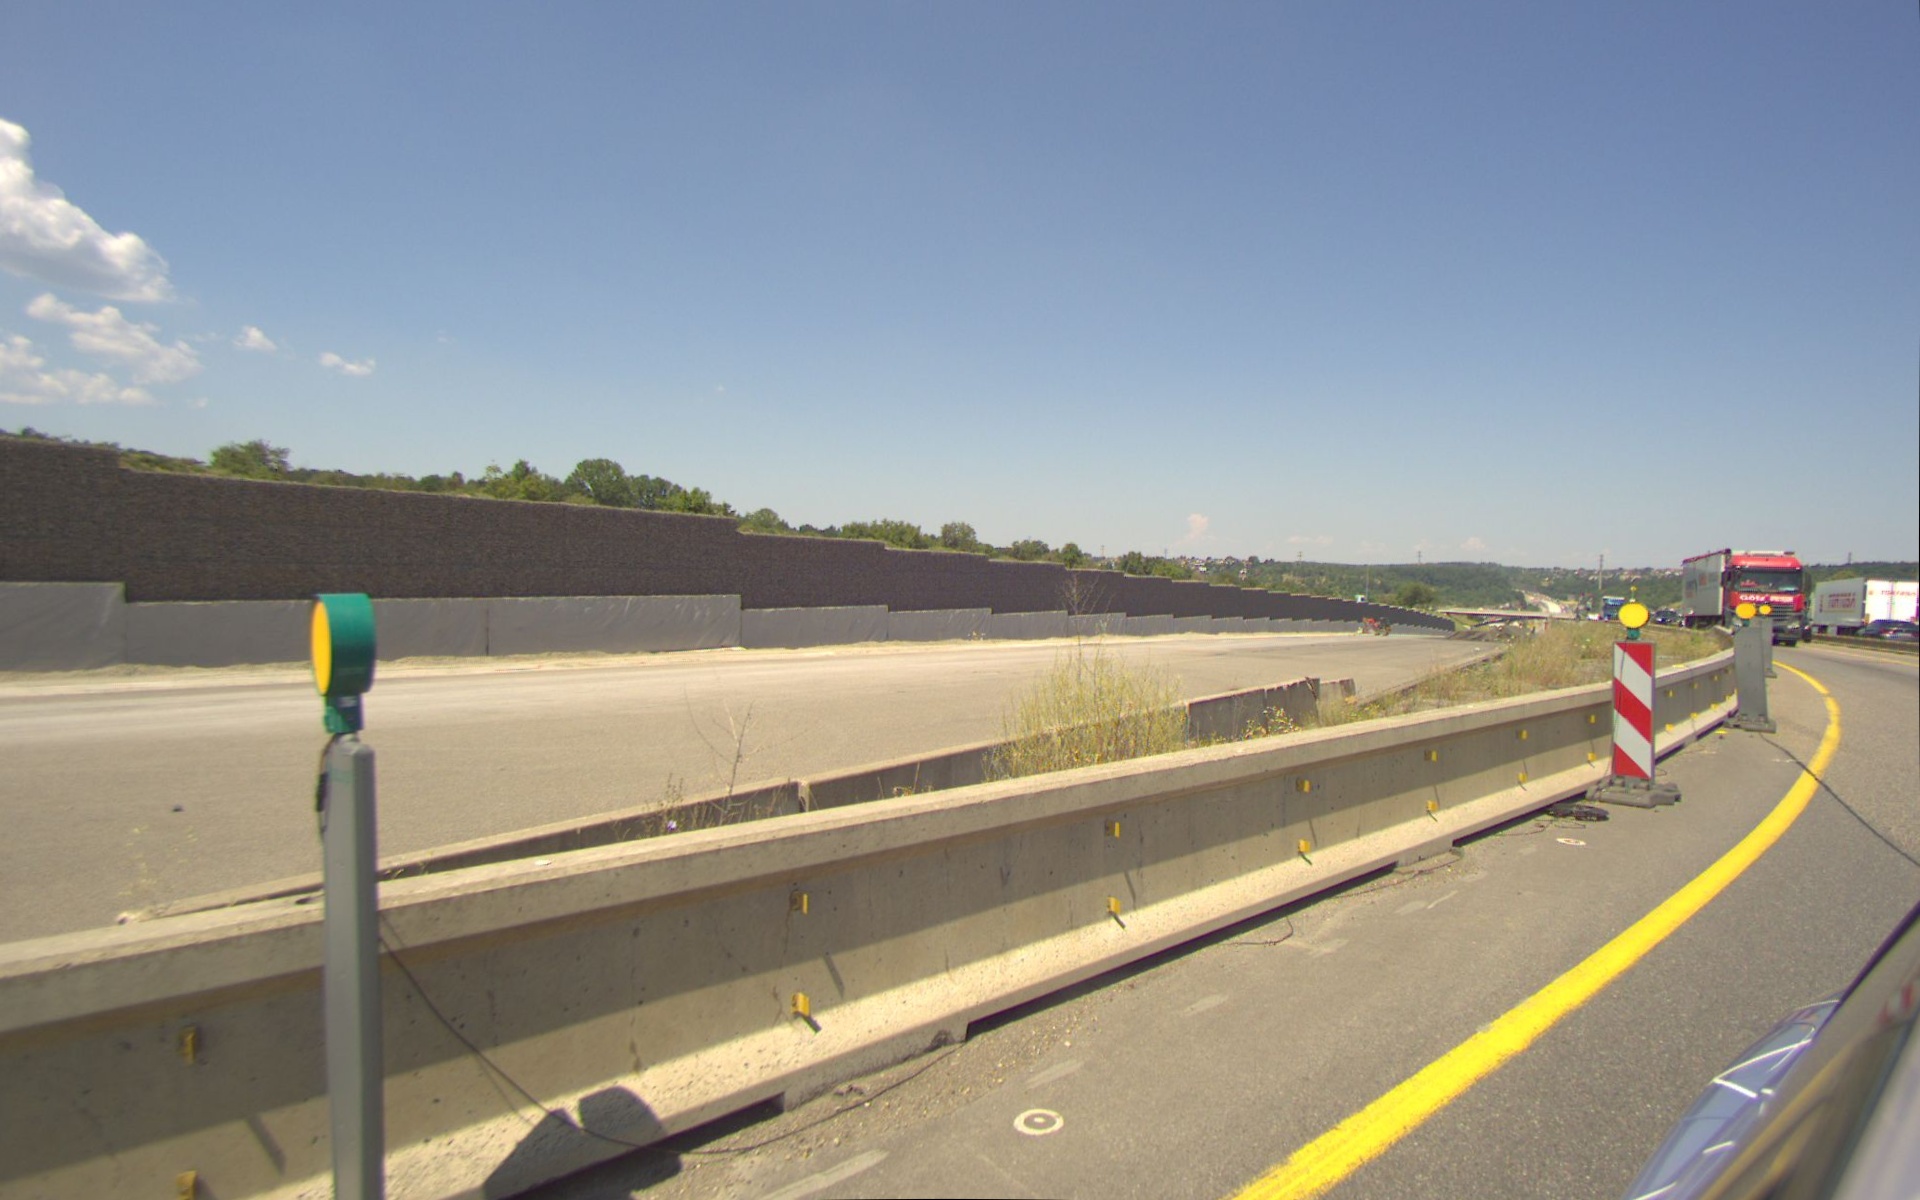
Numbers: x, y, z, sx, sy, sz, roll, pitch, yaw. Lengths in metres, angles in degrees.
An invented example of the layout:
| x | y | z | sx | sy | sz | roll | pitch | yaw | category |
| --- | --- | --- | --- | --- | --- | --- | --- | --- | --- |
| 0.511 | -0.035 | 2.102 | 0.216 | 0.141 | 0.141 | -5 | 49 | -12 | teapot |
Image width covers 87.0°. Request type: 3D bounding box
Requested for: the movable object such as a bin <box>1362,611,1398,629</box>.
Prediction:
| x | y | z | sx | sy | sz | roll | pitch | yaw | category |
| --- | --- | --- | --- | --- | --- | --- | --- | --- | --- |
| 56.375 | 2.689 | 135.841 | 4.060 | 2.174 | 1.761 | 2 | 1 | 5 | movable object such as a bin |

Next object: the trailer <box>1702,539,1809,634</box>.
| x | y | z | sx | sy | sz | roll | pitch | yaw | category |
| --- | --- | --- | --- | --- | --- | --- | --- | --- | --- |
| 37.549 | -0.623 | 48.158 | 2.684 | 3.923 | 12.276 | 2 | 1 | 33 | trailer |

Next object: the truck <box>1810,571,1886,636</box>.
| x | y | z | sx | sy | sz | roll | pitch | yaw | category |
| --- | --- | --- | --- | --- | --- | --- | --- | --- | --- |
| 61.556 | 0.203 | 70.268 | 2.817 | 4.183 | 5.399 | 2 | 1 | 31 | truck |

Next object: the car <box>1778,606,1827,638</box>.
| x | y | z | sx | sy | sz | roll | pitch | yaw | category |
| --- | --- | --- | --- | --- | --- | --- | --- | --- | --- |
| 44.245 | 1.138 | 53.210 | 1.417 | 1.504 | 3.377 | 3 | 1 | 31 | car |

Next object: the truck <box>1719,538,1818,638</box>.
| x | y | z | sx | sy | sz | roll | pitch | yaw | category |
| --- | --- | --- | --- | --- | --- | --- | --- | --- | --- |
| 34.212 | -0.540 | 42.989 | 2.610 | 3.951 | 4.876 | 2 | 1 | 33 | truck |

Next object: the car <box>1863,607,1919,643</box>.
| x | y | z | sx | sy | sz | roll | pitch | yaw | category |
| --- | --- | --- | --- | --- | --- | --- | --- | --- | --- |
| 43.794 | 1.155 | 47.004 | 1.745 | 1.496 | 4.489 | 3 | 2 | 29 | car |

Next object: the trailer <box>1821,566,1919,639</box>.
| x | y | z | sx | sy | sz | roll | pitch | yaw | category |
| --- | --- | --- | --- | --- | --- | --- | --- | --- | --- |
| 58.017 | 0.186 | 64.216 | 2.802 | 4.145 | 12.978 | 2 | 1 | 31 | trailer |
